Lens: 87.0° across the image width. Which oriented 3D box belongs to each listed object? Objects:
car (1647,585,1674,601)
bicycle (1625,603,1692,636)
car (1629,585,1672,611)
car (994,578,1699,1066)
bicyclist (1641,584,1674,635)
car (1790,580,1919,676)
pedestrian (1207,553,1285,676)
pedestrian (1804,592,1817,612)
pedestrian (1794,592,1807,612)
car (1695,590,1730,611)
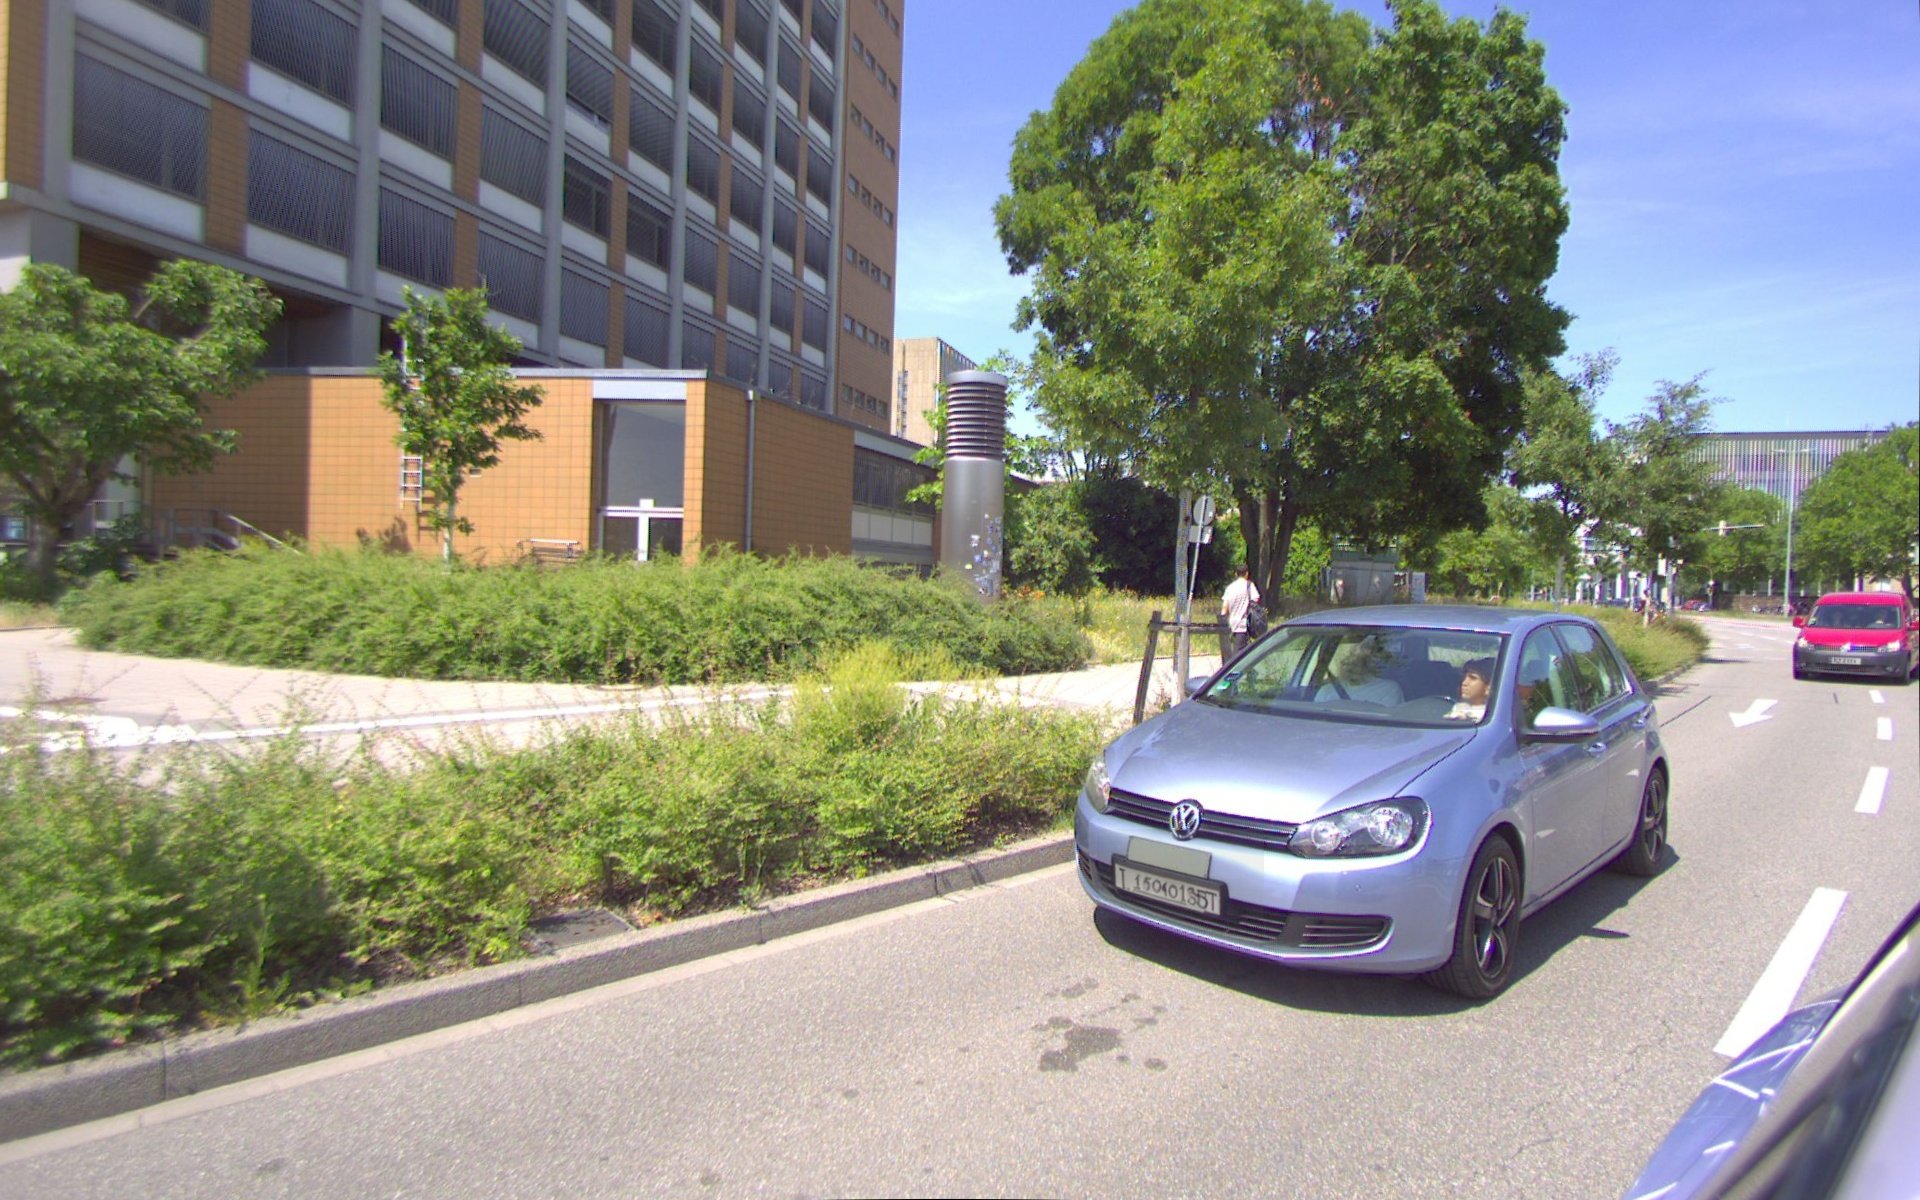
[{"bbox_3d":[83.006,-0.841,119.930,1.762,1.705,3.967,2,-1,23],"label":"car"},{"bbox_3d":[24.812,0.679,35.986,0.547,1.058,2.002,3,1,-19],"label":"bicycle"},{"bbox_3d":[46.316,-0.108,67.998,1.692,1.606,4.513,2,-1,26],"label":"car"},{"bbox_3d":[2.189,0.656,5.074,3.929,1.432,1.829,0,2,-45],"label":"car"},{"bbox_3d":[24.805,0.334,36.017,0.540,1.737,0.705,3,0,-19],"label":"bicyclist"},{"bbox_3d":[18.789,0.588,20.938,4.204,1.789,1.831,3,-1,-42],"label":"car"},{"bbox_3d":[4.151,0.199,14.680,0.796,1.727,0.733,1,0,-40],"label":"pedestrian"},{"bbox_3d":[89.313,0.232,106.280,0.780,2.039,0.834,2,-1,21],"label":"pedestrian"},{"bbox_3d":[88.295,0.199,106.310,0.780,2.039,0.957,2,-1,21],"label":"pedestrian"},{"bbox_3d":[82.593,0.065,111.108,1.976,2.039,4.183,2,-1,21],"label":"car"}]
